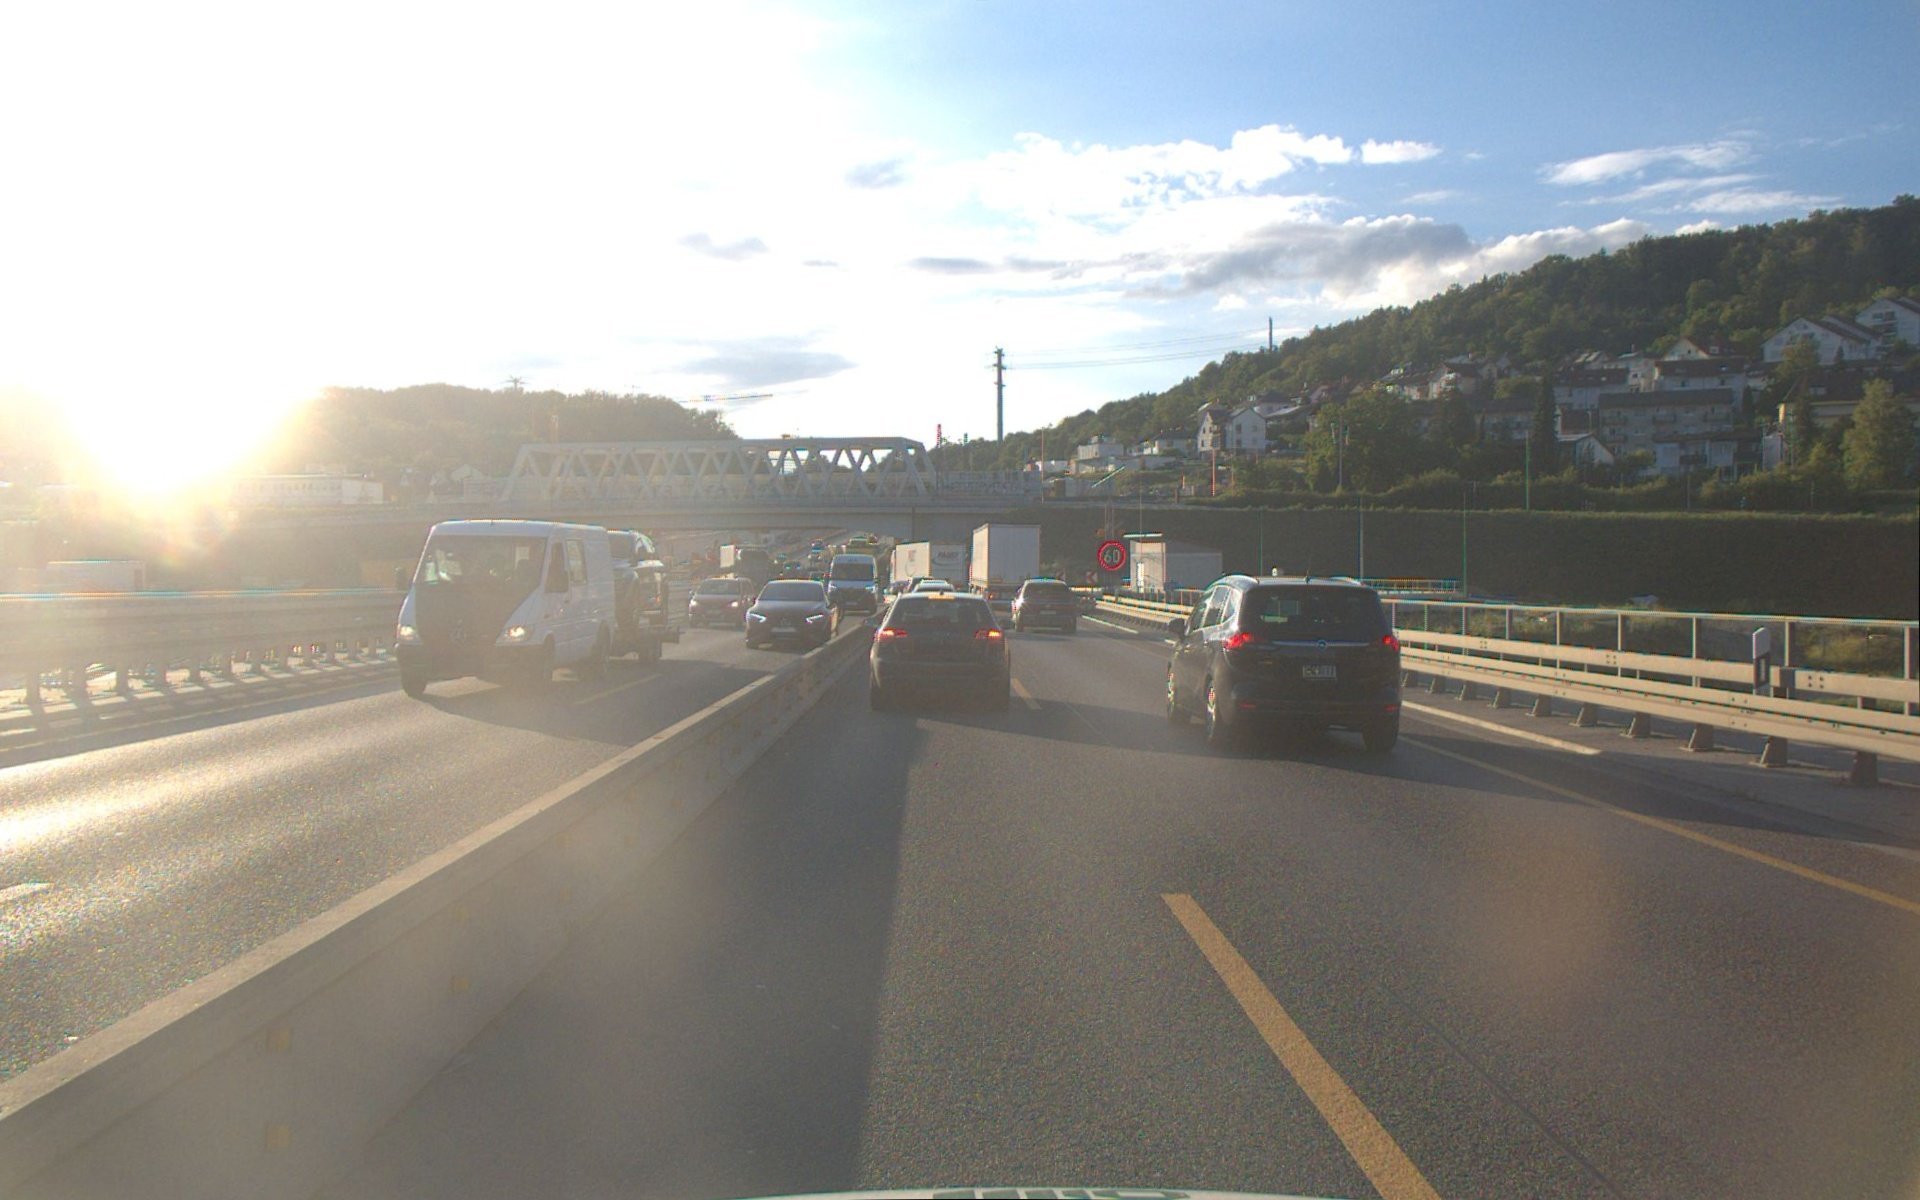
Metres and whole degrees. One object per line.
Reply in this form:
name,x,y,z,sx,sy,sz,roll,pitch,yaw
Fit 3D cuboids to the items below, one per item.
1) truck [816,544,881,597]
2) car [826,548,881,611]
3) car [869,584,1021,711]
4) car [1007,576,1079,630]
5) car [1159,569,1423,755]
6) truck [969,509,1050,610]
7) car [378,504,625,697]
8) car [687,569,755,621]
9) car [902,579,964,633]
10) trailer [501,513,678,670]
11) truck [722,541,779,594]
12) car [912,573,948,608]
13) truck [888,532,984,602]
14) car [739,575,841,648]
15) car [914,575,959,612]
truck,-10.494,-2.841,153.957,3.823,4.576,13.804,1,2,-13
car,-4.467,-0.870,70.253,2.031,2.500,6.265,1,1,-2
car,-0.238,0.534,21.187,1.734,1.414,3.999,1,1,-2
car,2.554,0.058,51.806,1.735,1.579,3.997,2,1,-4
car,3.271,0.529,17.215,1.777,1.660,4.410,1,1,-1
truck,2.327,-1.974,84.059,3.317,4.576,15.264,1,1,-1
car,-6.290,-0.031,23.505,1.953,2.364,5.933,1,1,-1
car,-7.475,-0.171,51.987,1.584,1.579,4.087,0,1,-1
car,-0.850,0.160,50.193,1.730,1.512,3.998,2,1,-3
trailer,-6.377,-0.171,29.104,2.035,2.463,5.218,1,1,-2
truck,-16.765,-2.596,131.725,2.884,3.958,10.216,1,1,-17
car,-1.654,-0.536,89.184,1.665,1.763,3.997,1,1,-5
truck,-1.917,-2.301,117.503,3.822,4.576,15.221,1,1,-12
car,-3.874,0.209,38.631,1.953,1.556,5.780,1,1,-2
car,-0.978,-0.299,72.088,1.728,1.512,4.001,2,1,2
